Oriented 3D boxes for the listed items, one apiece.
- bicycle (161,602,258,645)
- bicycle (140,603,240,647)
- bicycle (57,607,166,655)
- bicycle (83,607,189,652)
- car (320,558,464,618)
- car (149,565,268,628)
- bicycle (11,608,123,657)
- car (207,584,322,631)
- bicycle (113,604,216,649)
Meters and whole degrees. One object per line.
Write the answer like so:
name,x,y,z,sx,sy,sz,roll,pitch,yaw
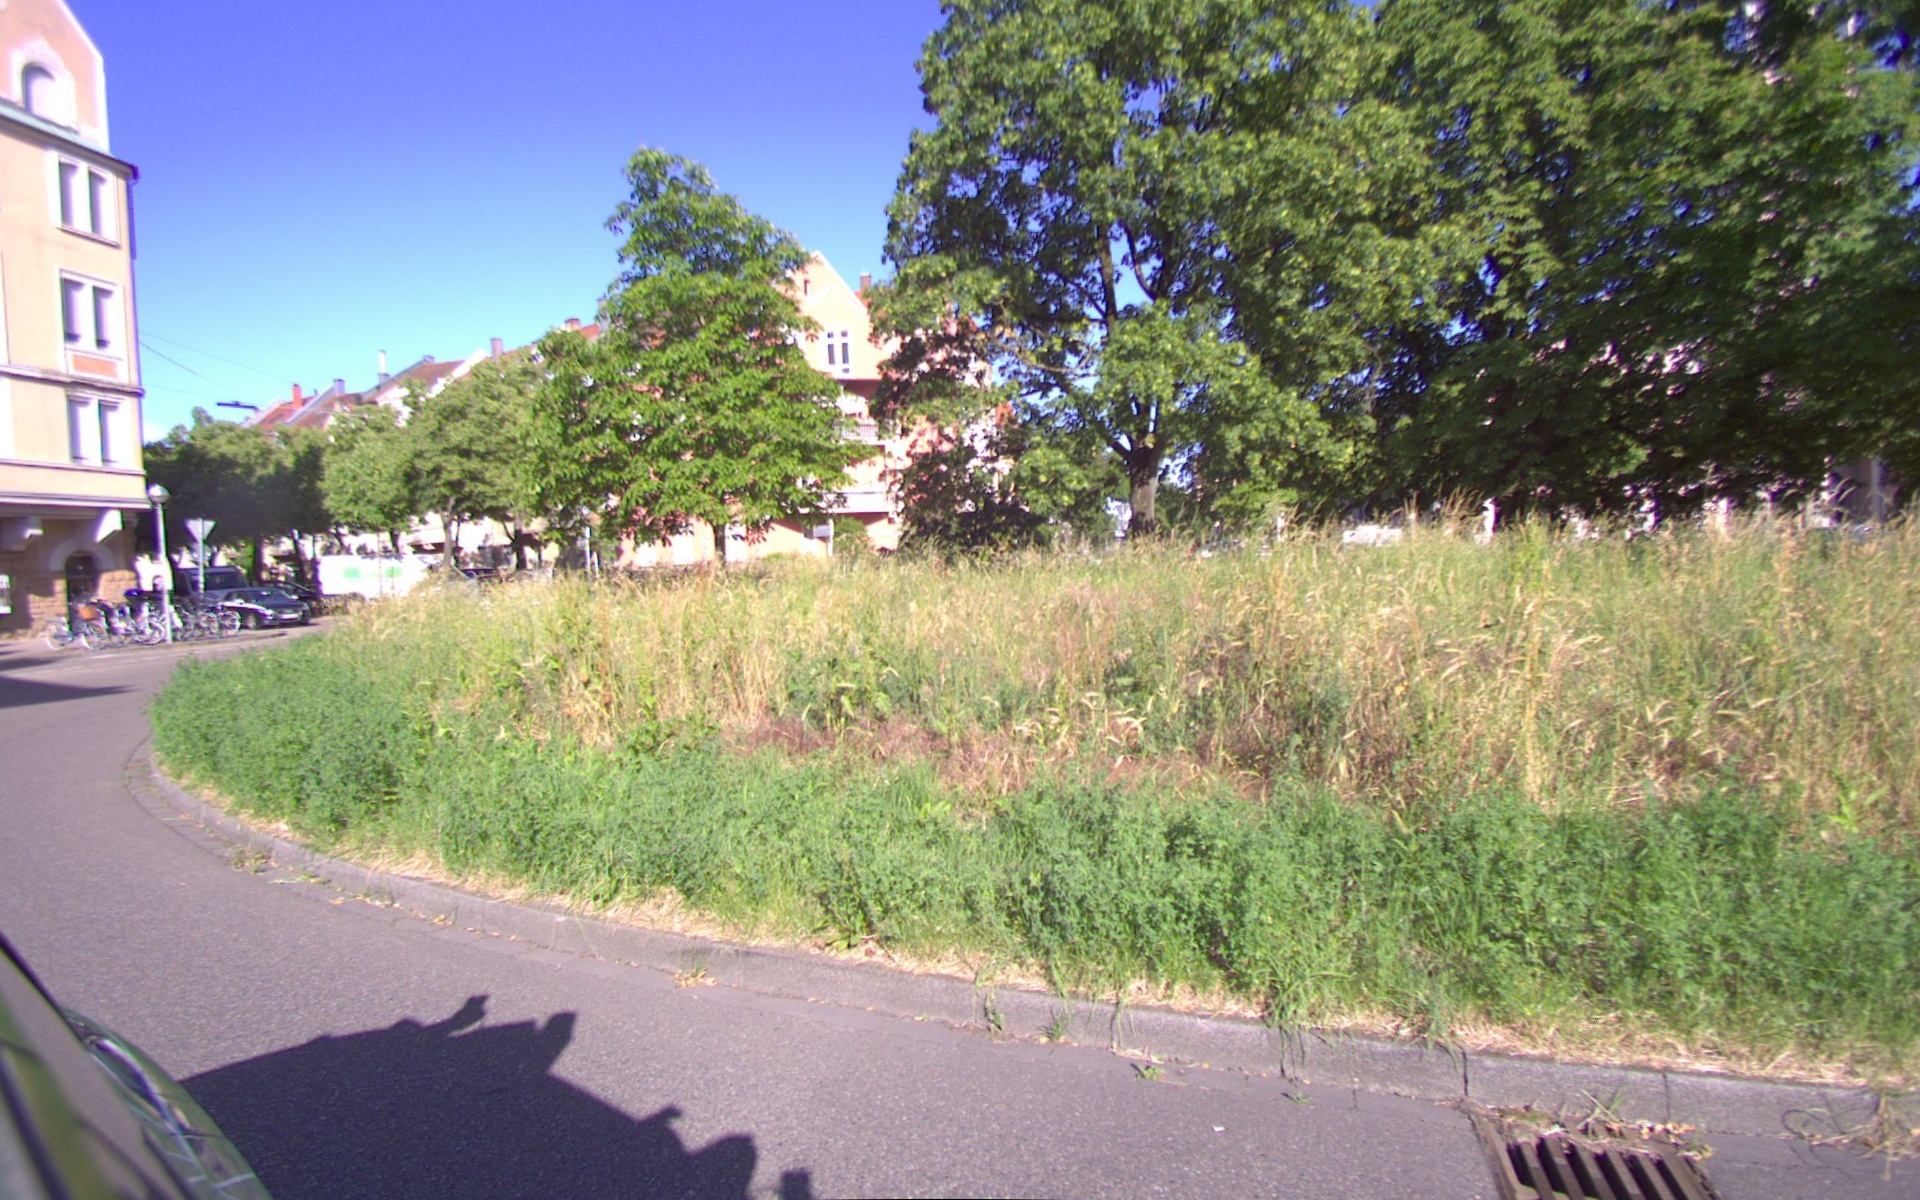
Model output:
bicycle,-20.419,0.649,27.541,2.340,1.060,0.652,-2,2,10
bicycle,-20.381,0.656,26.786,2.340,1.060,0.652,-2,2,10
bicycle,-20.665,0.749,24.658,2.340,1.060,0.652,-2,2,10
bicycle,-20.667,0.732,25.379,2.340,1.023,0.652,-2,1,10
car,-25.158,-0.573,45.014,5.108,2.379,2.043,-3,2,-12
car,-27.902,-0.107,37.523,4.793,2.135,2.227,-1,2,37
bicycle,-20.970,0.761,23.772,2.340,1.060,0.652,-2,-1,10
car,-23.668,0.257,34.413,3.992,1.453,1.976,-1,2,36
bicycle,-20.519,0.679,26.098,2.340,1.060,0.652,-2,1,10
